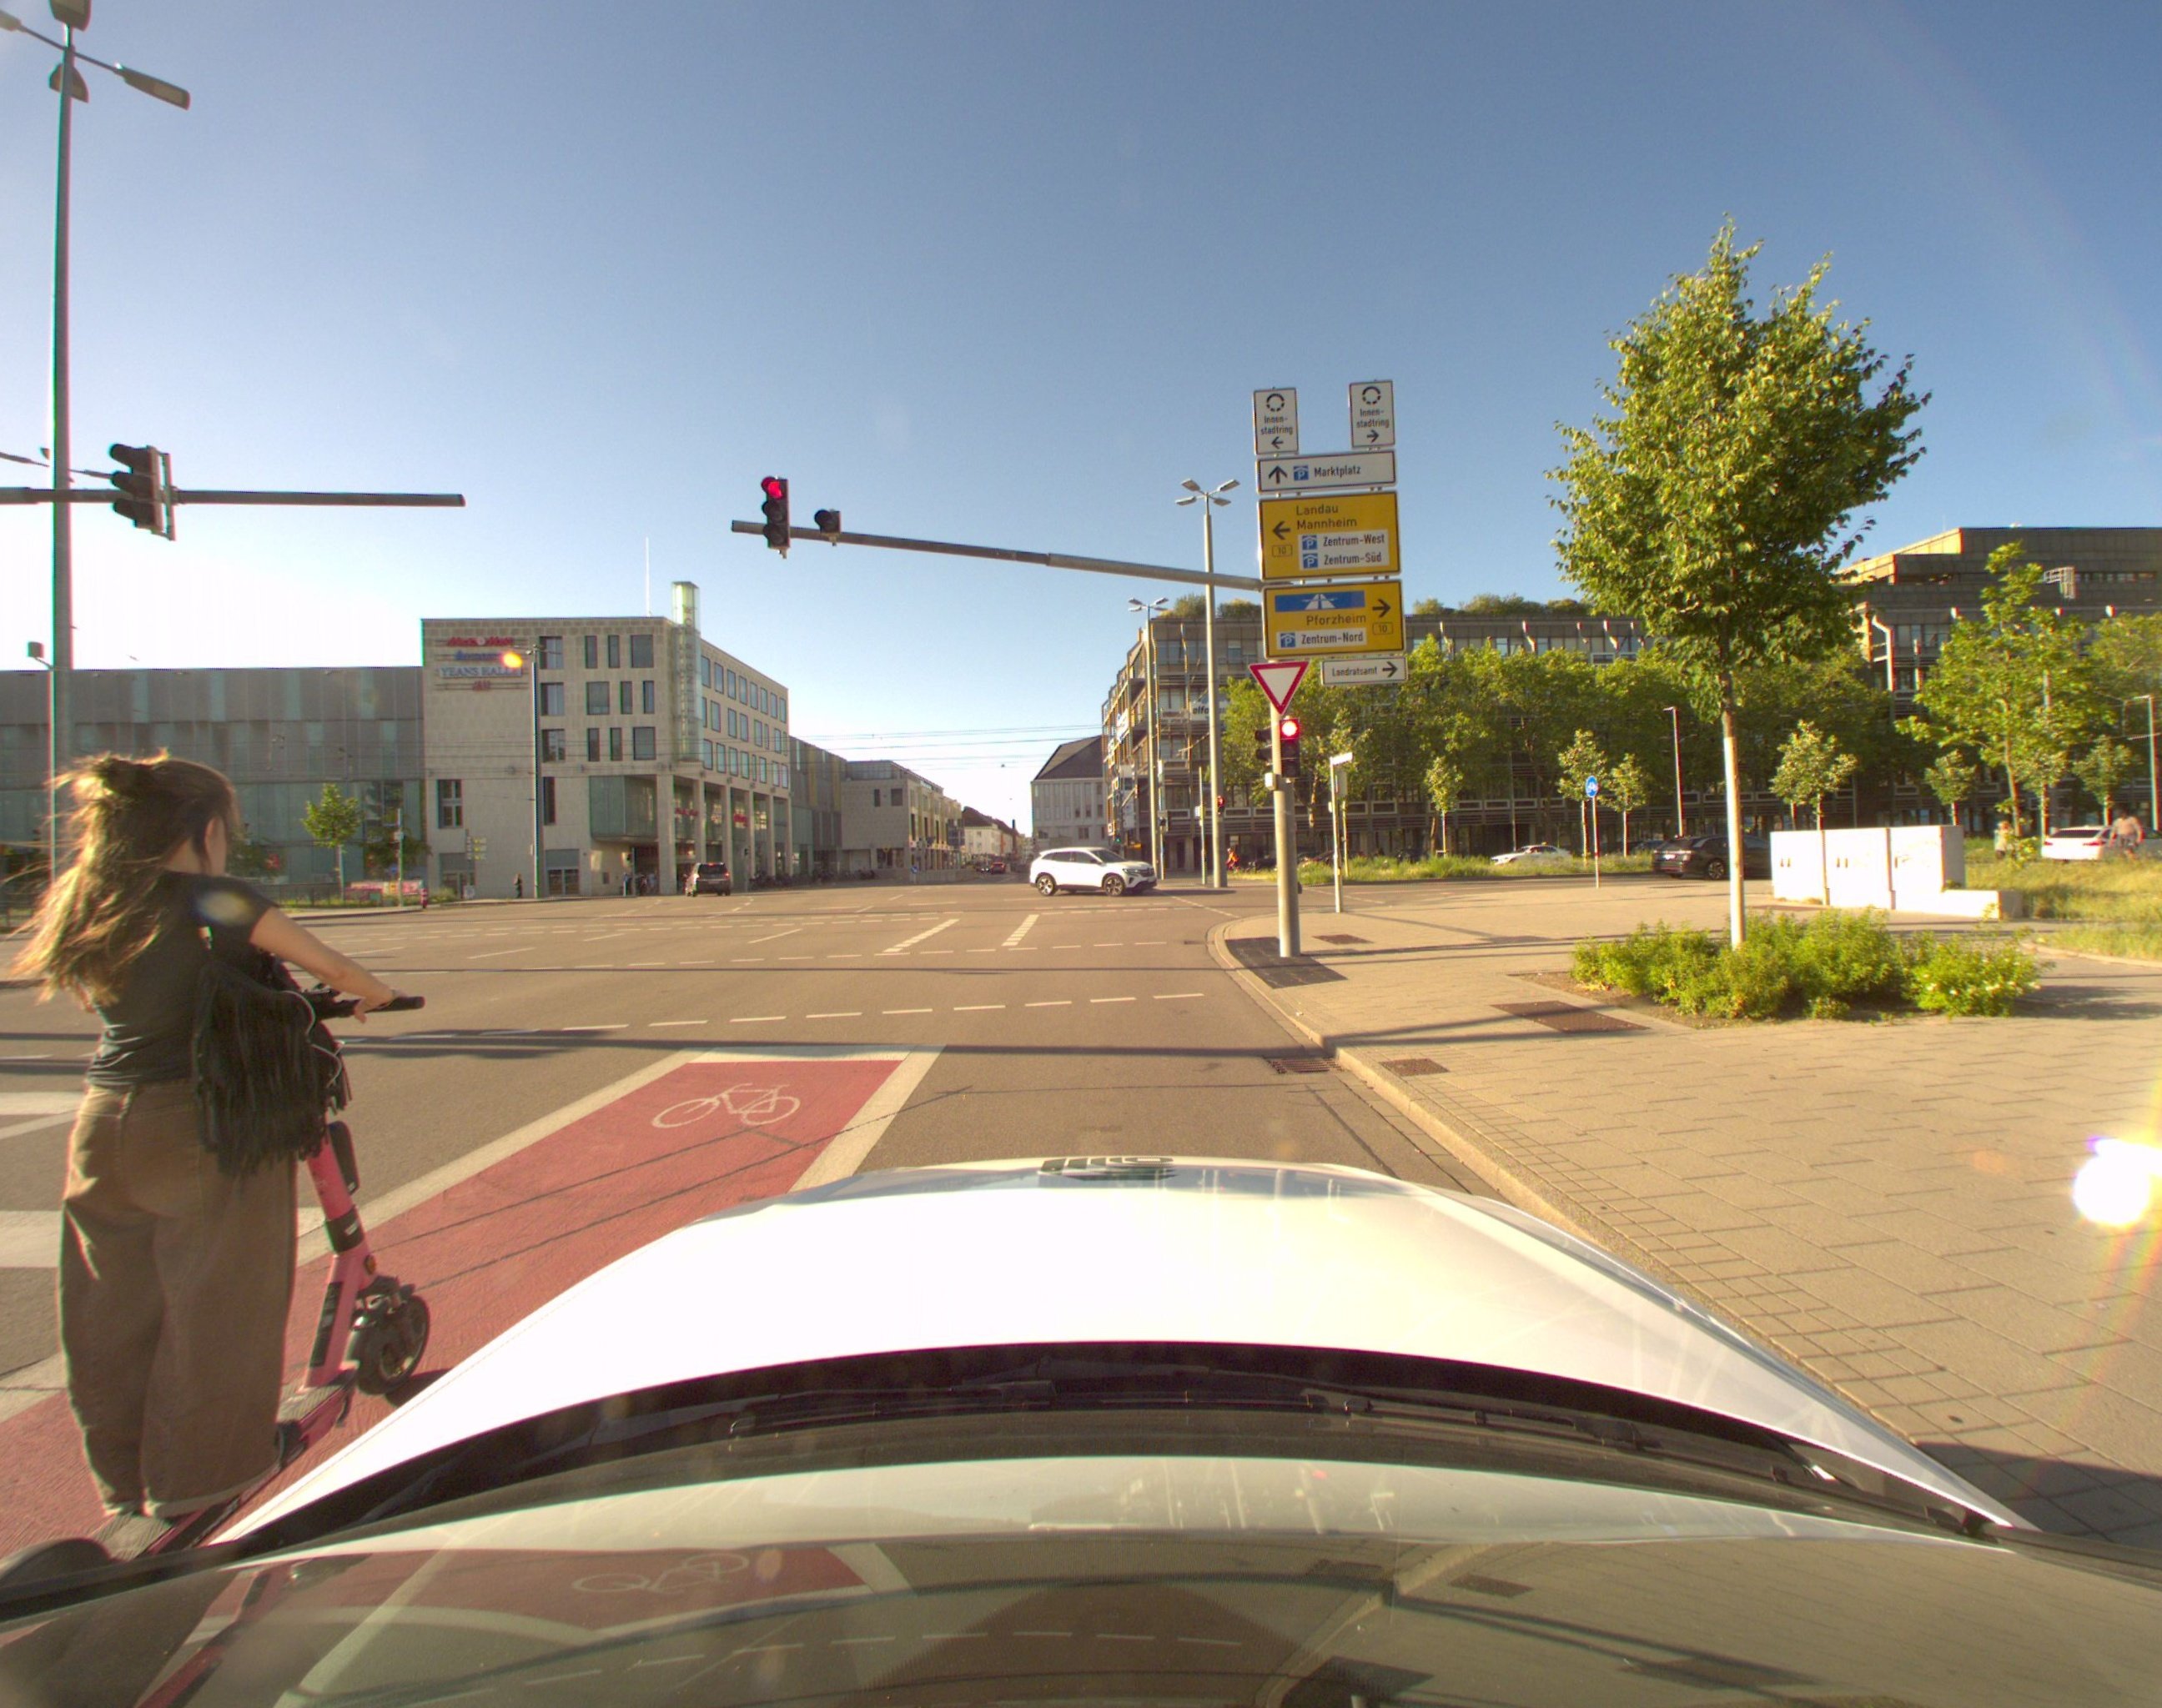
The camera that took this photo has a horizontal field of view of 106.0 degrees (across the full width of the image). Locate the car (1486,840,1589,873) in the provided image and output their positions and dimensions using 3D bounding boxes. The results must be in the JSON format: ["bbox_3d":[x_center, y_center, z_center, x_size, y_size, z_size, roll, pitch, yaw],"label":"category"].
[{"bbox_3d":[28.891,0.141,51.646,5.424,2.014,2.097,0,-1,-1],"label":"car"}]

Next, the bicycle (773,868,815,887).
[{"bbox_3d":[-26.681,2.179,75.758,3.491,1.696,0.984,-2,0,-10],"label":"bicycle"}]

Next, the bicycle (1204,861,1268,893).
[{"bbox_3d":[8.924,1.312,47.061,3.488,1.659,0.929,-2,0,-7],"label":"bicycle"}]

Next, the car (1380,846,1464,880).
[{"bbox_3d":[21.403,0.558,51.240,4.435,2.014,1.998,0,-1,-4],"label":"car"}]

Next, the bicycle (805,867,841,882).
[{"bbox_3d":[-27.654,2.210,87.446,3.491,1.527,0.984,-2,0,-10],"label":"bicycle"}]

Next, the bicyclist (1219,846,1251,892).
[{"bbox_3d":[8.883,0.852,47.065,1.566,2.580,0.929,-2,0,-7],"label":"bicyclist"}]

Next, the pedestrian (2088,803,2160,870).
[{"bbox_3d":[27.738,-0.448,21.666,0.694,1.728,0.939,-2,0,-12],"label":"pedestrian"}]

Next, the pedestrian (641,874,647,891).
[{"bbox_3d":[-37.080,2.425,69.136,0.388,1.426,0.498,-2,0,-28],"label":"pedestrian"}]

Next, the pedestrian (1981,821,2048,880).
[{"bbox_3d":[26.383,-0.099,23.040,0.801,1.630,0.939,-2,0,-12],"label":"pedestrian"}]

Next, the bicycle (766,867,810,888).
[{"bbox_3d":[-26.321,2.113,73.172,3.488,1.696,1.114,-2,0,-7],"label":"bicycle"}]

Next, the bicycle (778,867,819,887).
[{"bbox_3d":[-27.045,2.209,78.063,3.491,1.696,0.984,-2,0,-10],"label":"bicycle"}]

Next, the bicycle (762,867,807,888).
[{"bbox_3d":[-26.145,2.068,71.951,3.488,1.696,1.114,-2,0,-7],"label":"bicycle"}]

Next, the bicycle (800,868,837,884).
[{"bbox_3d":[-27.549,2.289,85.578,3.491,1.527,0.984,-2,0,-10],"label":"bicycle"}]

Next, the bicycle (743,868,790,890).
[{"bbox_3d":[-26.733,2.095,69.290,3.488,1.696,1.114,-2,0,-7],"label":"bicycle"}]

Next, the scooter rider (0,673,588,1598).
[{"bbox_3d":[-1.834,0.545,1.982,0.726,1.775,0.811,-1,0,1],"label":"scooter rider"}]

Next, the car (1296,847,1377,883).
[{"bbox_3d":[14.450,0.616,46.202,3.975,2.014,1.999,0,-1,-1],"label":"car"}]

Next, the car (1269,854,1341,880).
[{"bbox_3d":[13.849,0.779,50.469,3.976,1.508,1.867,-1,0,-2],"label":"car"}]

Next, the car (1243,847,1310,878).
[{"bbox_3d":[12.837,0.557,53.617,3.975,2.014,1.999,0,-1,-1],"label":"car"}]

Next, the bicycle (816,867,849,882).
[{"bbox_3d":[-28.290,2.327,92.776,3.491,1.527,0.984,-2,0,-10],"label":"bicycle"}]

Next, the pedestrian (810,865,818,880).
[{"bbox_3d":[-30.089,2.122,91.692,0.652,1.642,0.693,-2,0,-7],"label":"pedestrian"}]

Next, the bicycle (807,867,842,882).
[{"bbox_3d":[-27.923,2.210,88.575,3.491,1.527,0.984,-2,0,-10],"label":"bicycle"}]

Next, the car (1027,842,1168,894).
[{"bbox_3d":[0.521,0.509,27.735,4.349,1.660,2.013,-2,-2,32],"label":"car"}]

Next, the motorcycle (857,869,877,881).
[{"bbox_3d":[-25.968,2.534,98.863,2.269,1.318,0.719,-2,0,-4],"label":"motorcycle"}]

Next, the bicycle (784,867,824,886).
[{"bbox_3d":[-27.250,2.232,80.160,3.491,1.696,0.984,-2,0,-10],"label":"bicycle"}]

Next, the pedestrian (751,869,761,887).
[{"bbox_3d":[-30.561,2.266,76.616,0.785,1.642,0.691,-2,0,-14],"label":"pedestrian"}]

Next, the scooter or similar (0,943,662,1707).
[{"bbox_3d":[-1.844,0.916,1.976,0.725,1.202,1.665,-1,0,2],"label":"scooter or similar"}]

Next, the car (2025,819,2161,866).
[{"bbox_3d":[36.985,-0.440,29.076,4.681,1.528,1.996,-2,0,-6],"label":"car"}]

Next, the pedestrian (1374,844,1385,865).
[{"bbox_3d":[22.927,0.065,62.569,0.538,1.590,0.586,-2,0,-1],"label":"pedestrian"}]

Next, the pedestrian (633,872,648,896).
[{"bbox_3d":[-33.596,2.275,62.118,0.755,1.798,0.736,-2,0,-3],"label":"pedestrian"}]

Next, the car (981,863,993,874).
[{"bbox_3d":[-17.313,2.646,150.572,1.752,1.783,3.997,-2,0,-2],"label":"car"}]

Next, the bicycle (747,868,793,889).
[{"bbox_3d":[-26.912,2.130,70.501,3.488,1.696,1.114,-2,0,-7],"label":"bicycle"}]

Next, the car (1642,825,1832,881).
[{"bbox_3d":[22.176,-0.059,27.677,4.925,1.601,1.999,-3,1,-2],"label":"car"}]

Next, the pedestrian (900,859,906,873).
[{"bbox_3d":[-26.288,1.721,119.995,0.623,2.013,0.734,-2,0,4],"label":"pedestrian"}]

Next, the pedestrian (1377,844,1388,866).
[{"bbox_3d":[22.934,0.053,61.961,0.538,1.669,0.537,-2,0,-1],"label":"pedestrian"}]

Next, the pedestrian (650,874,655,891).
[{"bbox_3d":[-36.535,2.450,69.448,0.388,1.412,0.434,-2,0,-27],"label":"pedestrian"}]

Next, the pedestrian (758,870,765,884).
[{"bbox_3d":[-33.372,2.406,85.082,0.640,1.435,0.472,-2,0,-21],"label":"pedestrian"}]

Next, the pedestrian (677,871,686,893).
[{"bbox_3d":[-30.397,2.149,61.949,0.543,1.642,0.545,-2,0,-27],"label":"pedestrian"}]

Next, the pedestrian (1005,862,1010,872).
[{"bbox_3d":[-9.750,1.725,108.641,0.608,1.411,0.569,-2,0,-5],"label":"pedestrian"}]

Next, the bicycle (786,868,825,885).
[{"bbox_3d":[-27.411,2.224,81.157,3.491,1.527,0.984,-2,0,-10],"label":"bicycle"}]

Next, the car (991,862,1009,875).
[{"bbox_3d":[-10.790,1.881,108.857,2.195,1.607,4.320,-2,0,-4],"label":"car"}]

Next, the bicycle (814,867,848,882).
[{"bbox_3d":[-28.173,2.290,91.745,3.491,1.527,0.984,-2,0,-10],"label":"bicycle"}]

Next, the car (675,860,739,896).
[{"bbox_3d":[-18.738,1.143,40.703,2.009,1.607,4.431,0,1,-37],"label":"car"}]

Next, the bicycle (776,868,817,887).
[{"bbox_3d":[-26.857,2.197,76.854,3.491,1.696,0.984,-2,0,-10],"label":"bicycle"}]

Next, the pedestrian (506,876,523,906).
[{"bbox_3d":[-32.716,2.146,47.044,0.524,1.694,0.548,-2,0,0],"label":"pedestrian"}]
